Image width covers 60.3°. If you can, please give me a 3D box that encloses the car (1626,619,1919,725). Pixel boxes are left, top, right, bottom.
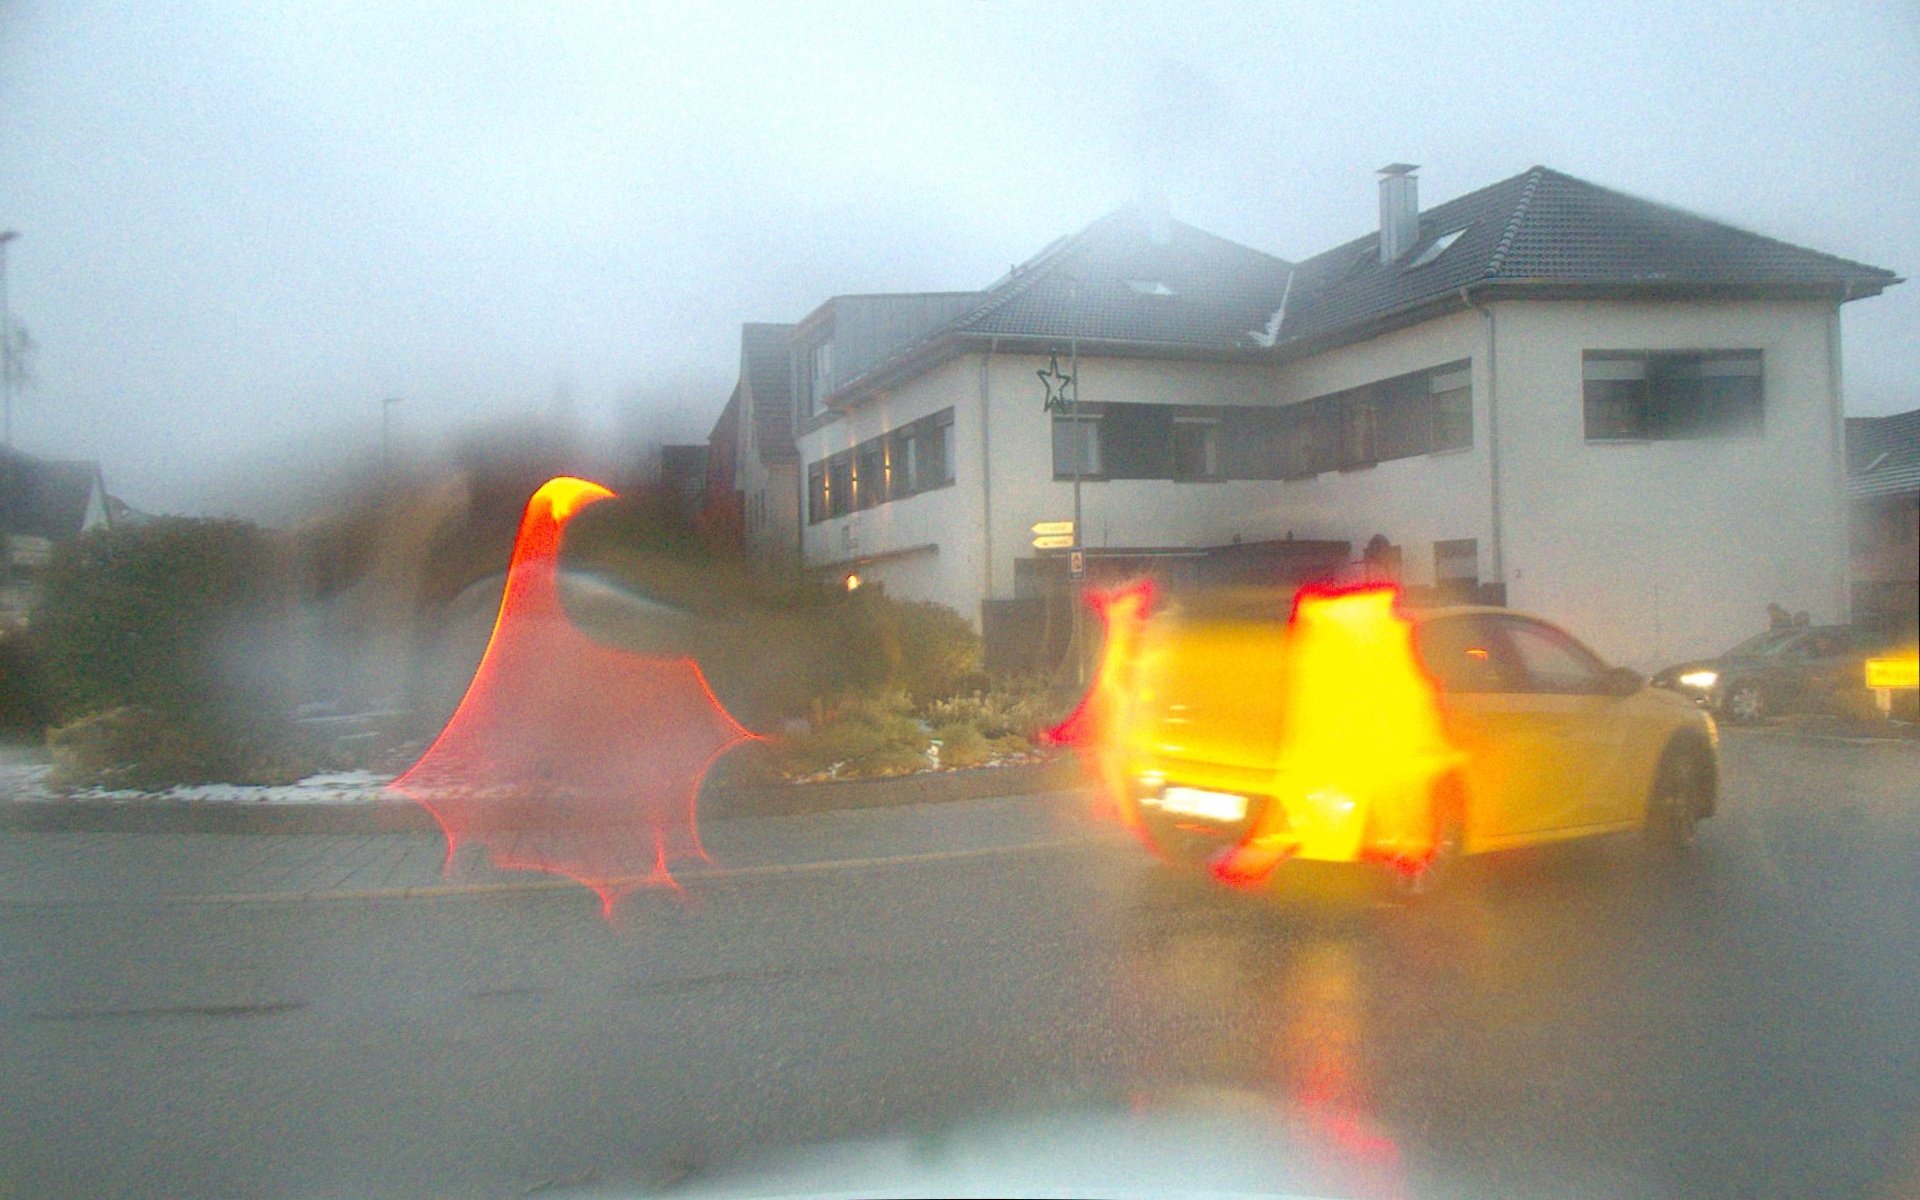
[{"bbox_3d":[12.010,1.040,23.740,4.136,1.408,1.849,-1,-3,-3],"label":"car"}]

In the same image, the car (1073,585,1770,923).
[{"bbox_3d":[2.678,0.674,9.205,3.970,1.446,1.693,-1,0,-37],"label":"car"}]

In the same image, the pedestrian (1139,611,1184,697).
[{"bbox_3d":[3.796,1.018,31.175,0.675,1.592,0.610,-1,0,23],"label":"pedestrian"}]

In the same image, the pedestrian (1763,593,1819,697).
[{"bbox_3d":[15.184,0.813,30.233,0.700,1.864,0.638,-1,1,4],"label":"pedestrian"}]

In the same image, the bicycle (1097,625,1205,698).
[{"bbox_3d":[3.556,1.146,30.867,1.897,1.318,0.551,-1,1,25],"label":"bicycle"}]

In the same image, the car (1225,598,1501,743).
[{"bbox_3d":[5.032,0.832,21.222,1.882,1.643,3.937,-1,0,-13],"label":"car"}]

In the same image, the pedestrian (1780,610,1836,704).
[{"bbox_3d":[15.110,1.005,29.471,0.700,1.649,0.583,-1,-1,4],"label":"pedestrian"}]
